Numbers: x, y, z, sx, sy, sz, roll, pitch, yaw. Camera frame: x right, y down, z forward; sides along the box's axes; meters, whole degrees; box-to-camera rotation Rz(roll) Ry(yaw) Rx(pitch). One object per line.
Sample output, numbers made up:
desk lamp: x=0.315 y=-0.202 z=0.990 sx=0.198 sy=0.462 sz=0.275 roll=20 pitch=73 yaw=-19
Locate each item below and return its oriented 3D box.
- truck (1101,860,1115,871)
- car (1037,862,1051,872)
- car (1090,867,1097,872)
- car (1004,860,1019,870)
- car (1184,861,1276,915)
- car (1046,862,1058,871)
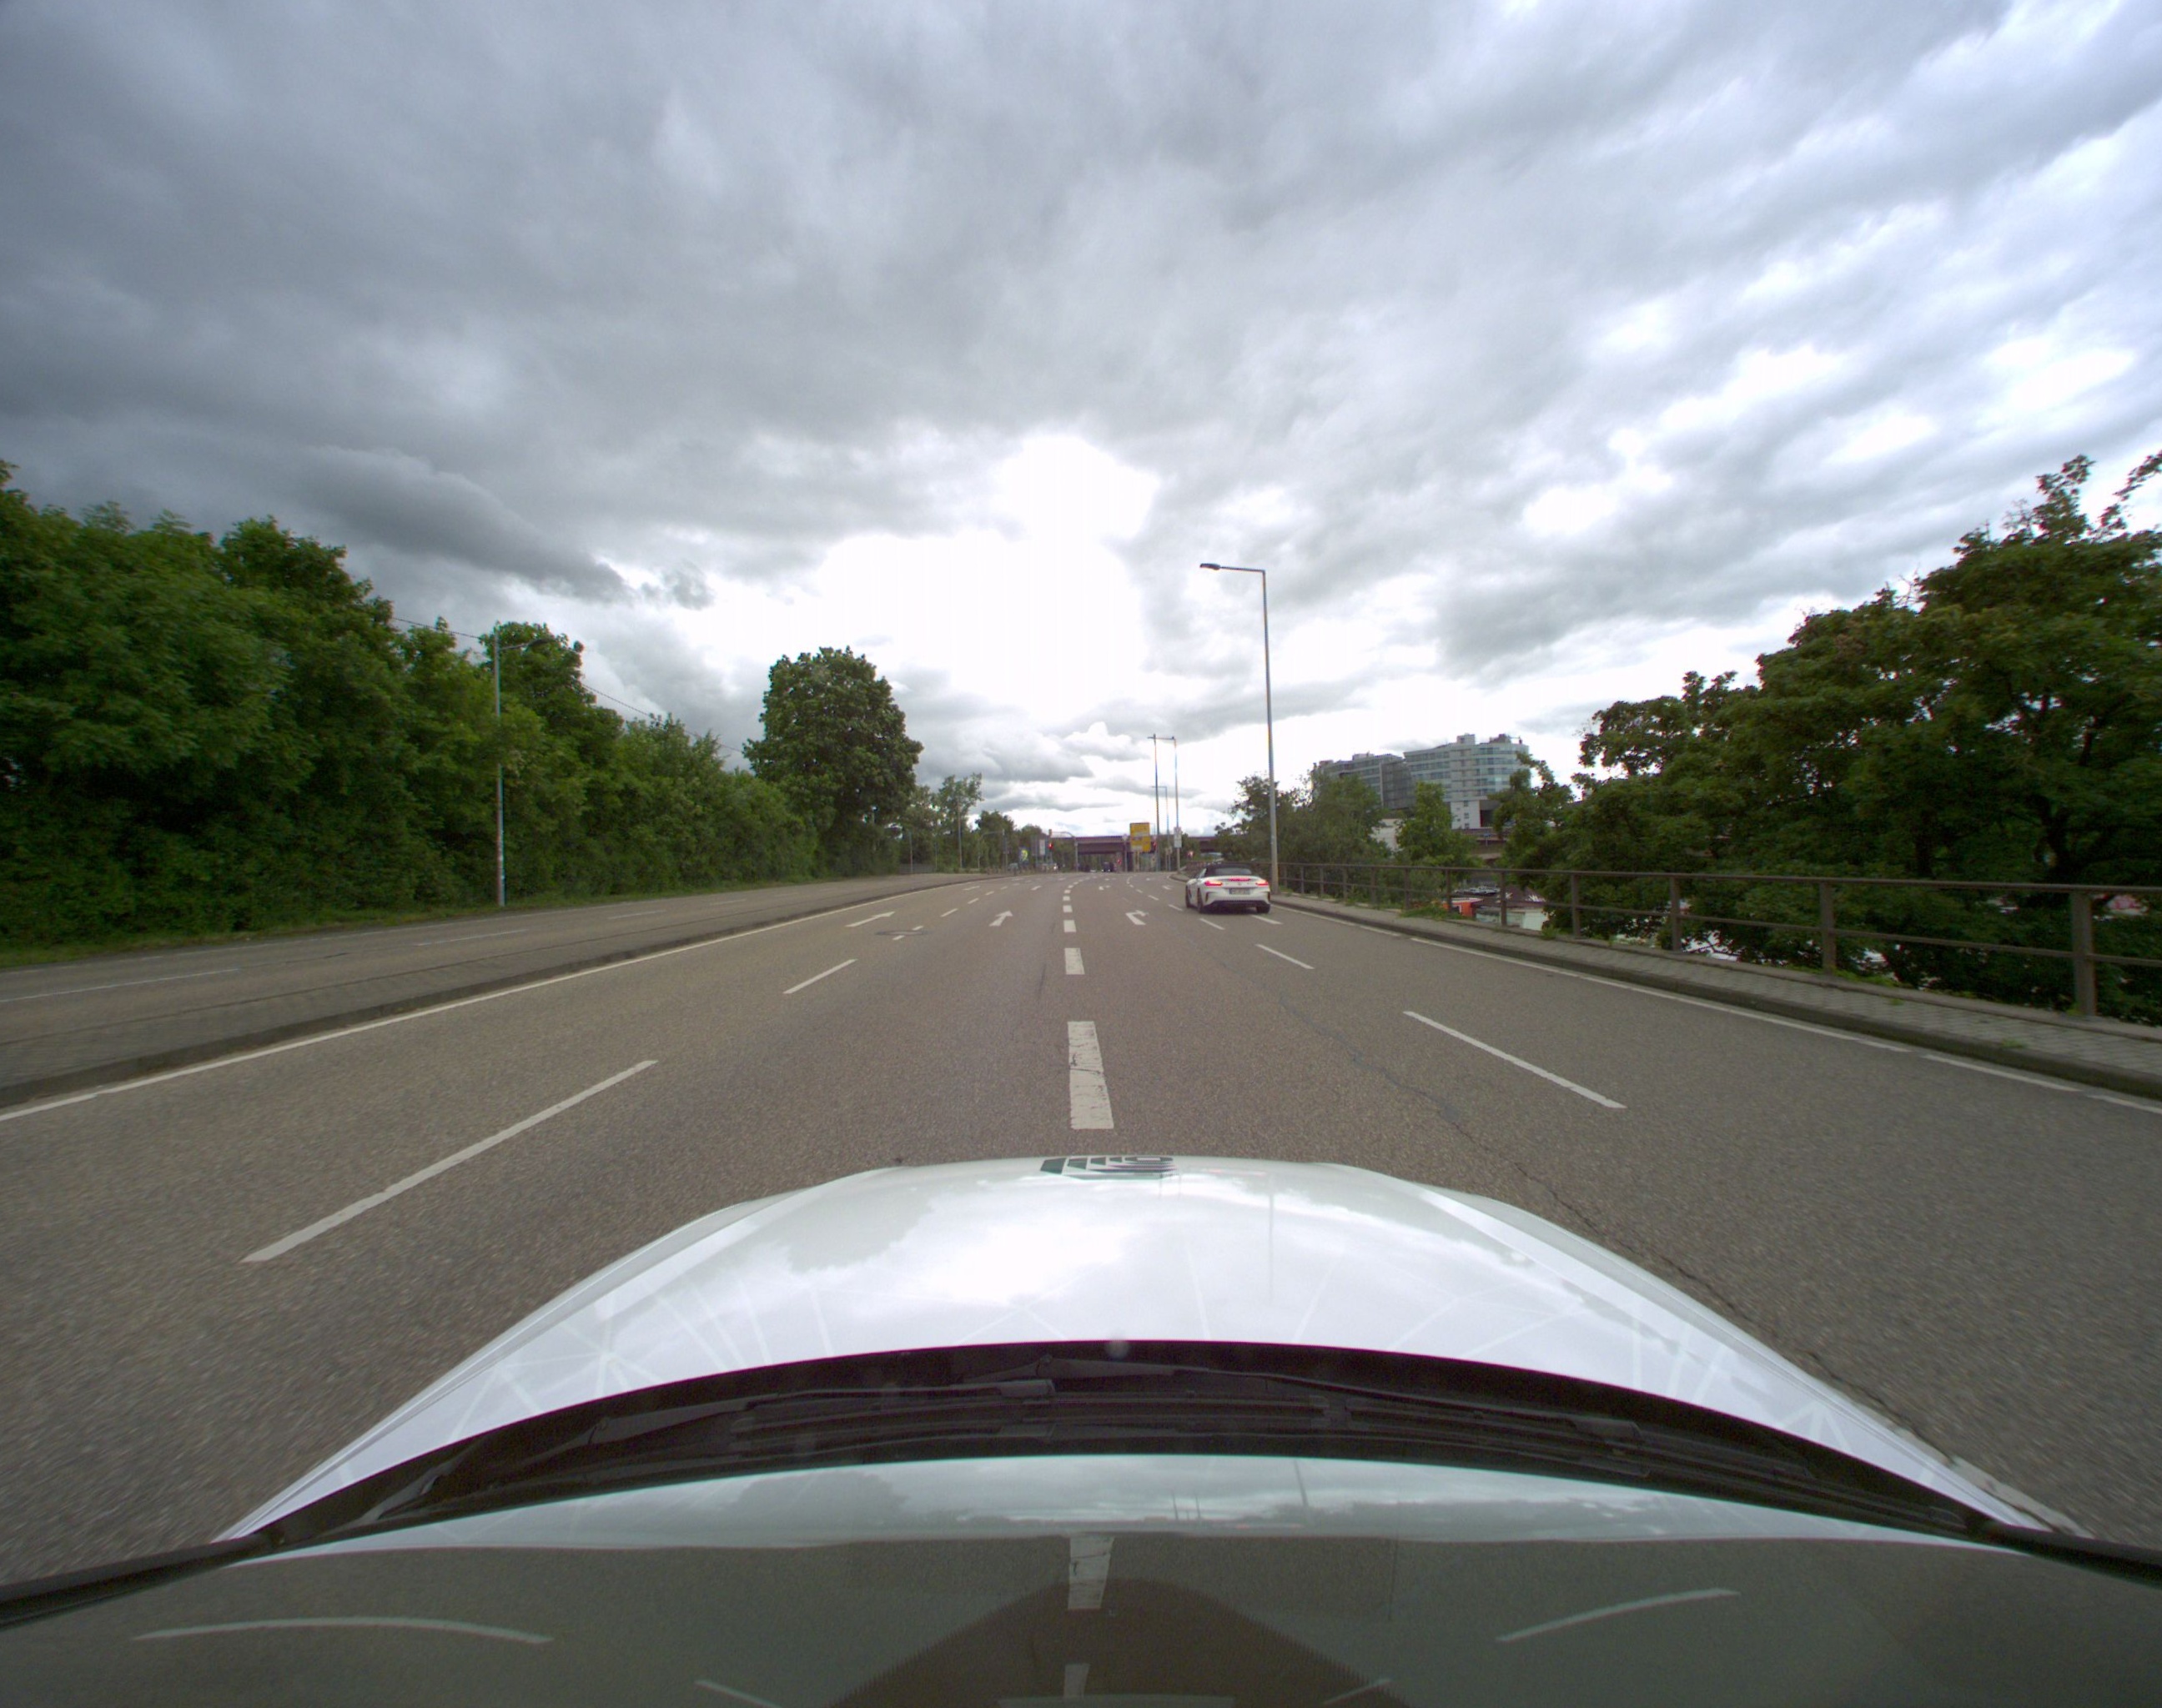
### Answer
truck: x=8.351 y=3.495 z=249.700 sx=2.906 sy=3.146 sz=10.138 roll=0 pitch=-1 yaw=10
car: x=-5.858 y=2.040 z=129.149 sx=1.764 sy=1.645 sz=3.826 roll=0 pitch=-1 yaw=2
car: x=3.572 y=4.518 z=238.249 sx=1.732 sy=1.537 sz=3.676 roll=-1 pitch=0 yaw=5
car: x=-10.251 y=1.673 z=120.803 sx=1.753 sy=1.485 sz=3.486 roll=1 pitch=-1 yaw=2
car: x=4.019 y=0.880 z=22.599 sx=1.869 sy=1.309 sz=3.873 roll=0 pitch=0 yaw=0
car: x=-4.943 y=2.139 z=138.880 sx=1.764 sy=1.633 sz=3.826 roll=0 pitch=-1 yaw=2
